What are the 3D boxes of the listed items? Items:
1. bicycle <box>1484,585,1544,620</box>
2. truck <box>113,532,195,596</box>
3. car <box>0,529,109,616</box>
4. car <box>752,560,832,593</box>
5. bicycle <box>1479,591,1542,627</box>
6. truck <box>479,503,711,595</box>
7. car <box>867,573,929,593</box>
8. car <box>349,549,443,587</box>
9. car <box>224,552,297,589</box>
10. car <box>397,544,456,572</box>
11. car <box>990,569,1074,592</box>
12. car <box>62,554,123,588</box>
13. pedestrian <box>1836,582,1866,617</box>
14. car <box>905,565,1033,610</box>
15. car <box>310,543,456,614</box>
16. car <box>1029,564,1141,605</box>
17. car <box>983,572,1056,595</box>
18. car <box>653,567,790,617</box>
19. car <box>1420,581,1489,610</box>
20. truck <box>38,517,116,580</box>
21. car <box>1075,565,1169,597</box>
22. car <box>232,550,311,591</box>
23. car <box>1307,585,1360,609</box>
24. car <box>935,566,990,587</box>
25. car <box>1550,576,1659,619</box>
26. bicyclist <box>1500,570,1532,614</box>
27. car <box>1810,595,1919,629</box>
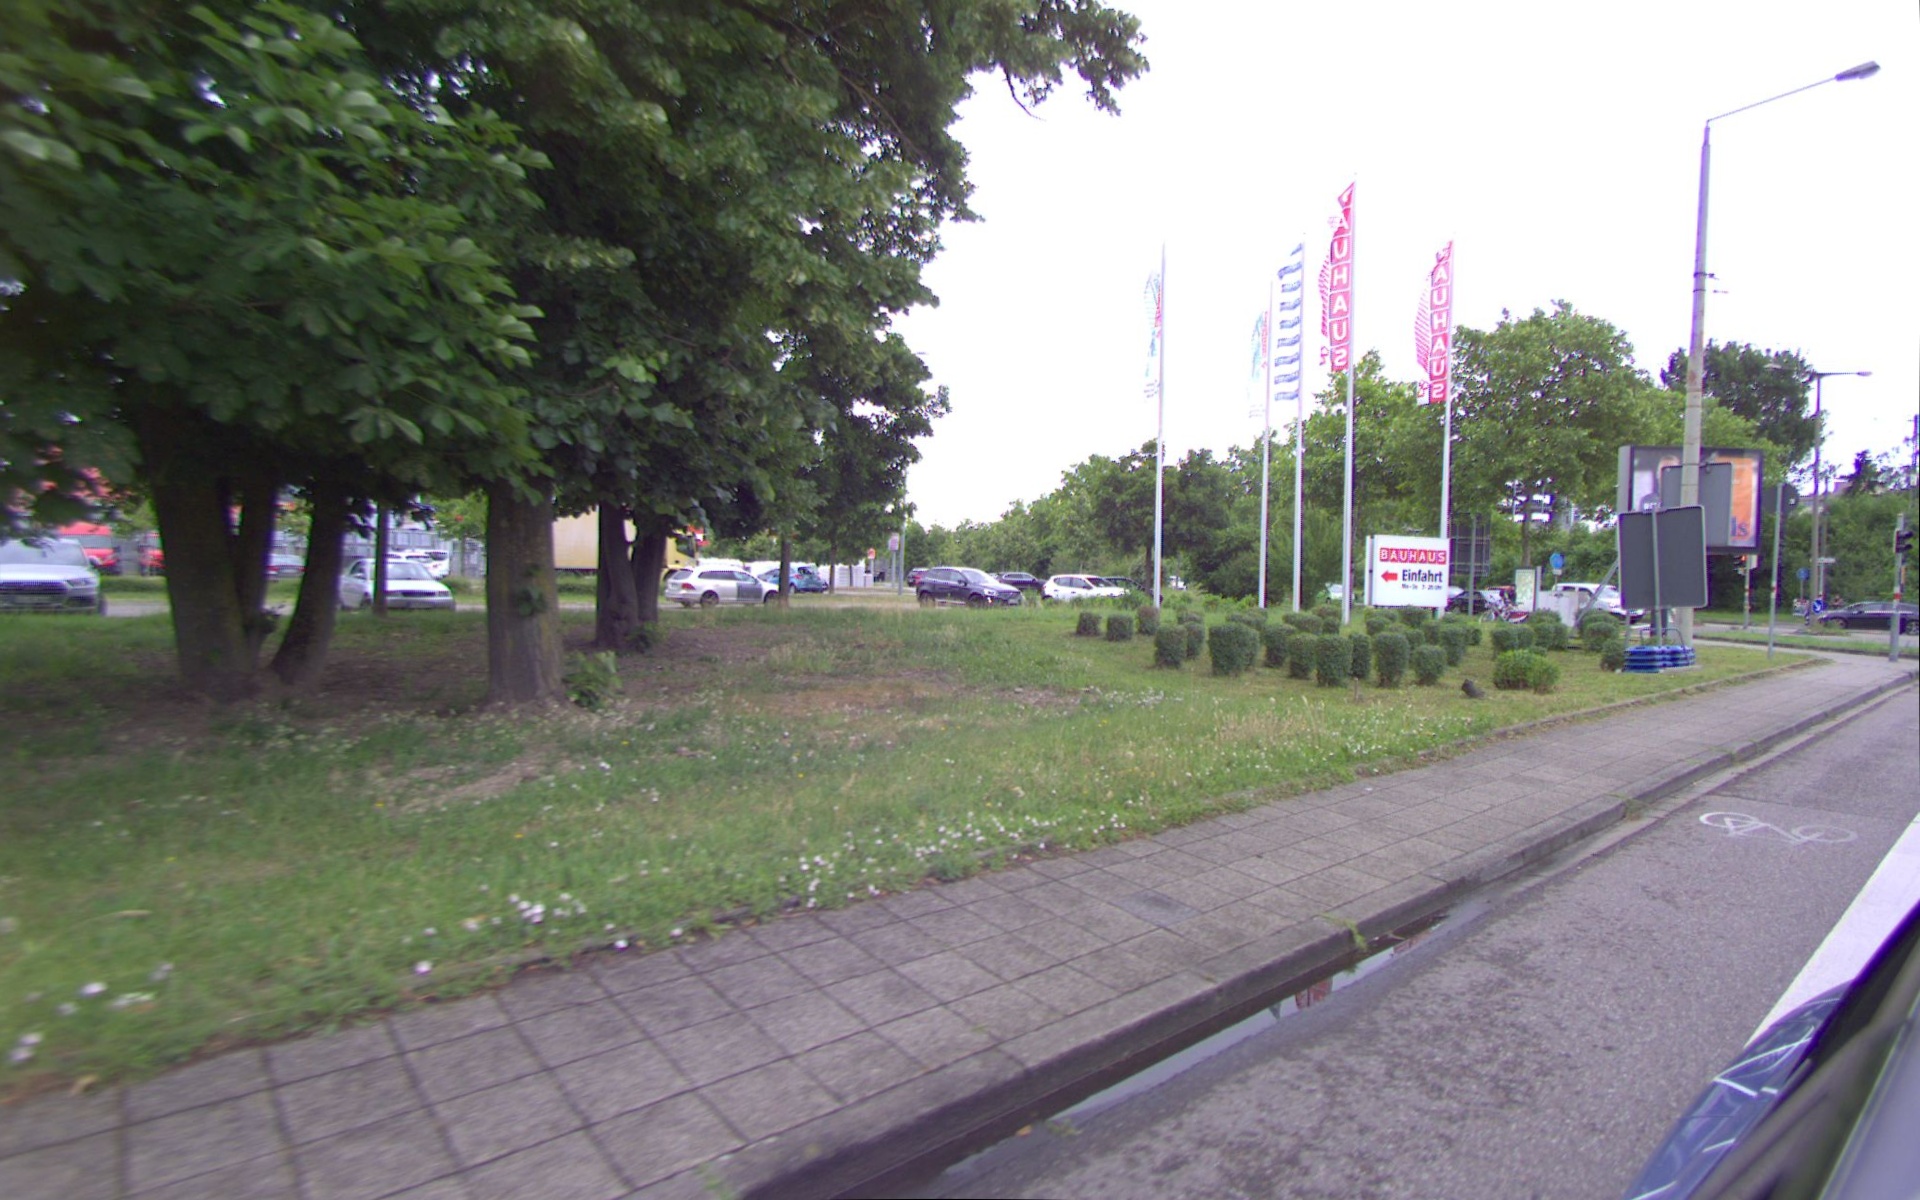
[{"bbox_3d":[19.921,0.082,36.407,0.570,1.163,1.898,1,2,-24],"label":"bicycle"},{"bbox_3d":[-38.479,-1.762,48.212,2.443,2.850,7.869,0,2,-43],"label":"truck"},{"bbox_3d":[-17.890,-0.498,19.501,2.133,1.516,4.681,0,1,-42],"label":"car"},{"bbox_3d":[-8.540,-1.198,51.261,1.952,1.525,4.564,0,2,-39],"label":"car"},{"bbox_3d":[18.786,0.297,34.539,1.779,1.131,0.487,2,1,12],"label":"bicycle"},{"bbox_3d":[-15.653,-2.067,44.040,9.090,3.609,2.944,-1,0,-42],"label":"truck"},{"bbox_3d":[-5.922,-1.619,96.026,5.678,1.697,2.133,3,2,30],"label":"car"},{"bbox_3d":[-27.273,-1.556,48.919,4.535,1.697,2.130,3,2,33],"label":"car"},{"bbox_3d":[-34.106,-1.453,49.277,4.556,1.697,2.121,3,3,45],"label":"car"},{"bbox_3d":[-34.683,-2.708,65.699,4.556,1.697,2.121,3,3,45],"label":"car"},{"bbox_3d":[5.162,-1.396,72.818,5.607,1.458,2.160,1,2,-10],"label":"car"},{"bbox_3d":[-47.243,-1.573,55.085,4.556,1.697,2.121,3,3,45],"label":"car"},{"bbox_3d":[43.334,-0.033,49.227,0.732,1.660,0.776,1,1,10],"label":"pedestrian"},{"bbox_3d":[0.261,-0.448,36.406,1.900,1.516,4.600,0,1,-45],"label":"car"},{"bbox_3d":[-13.610,-0.478,23.740,1.900,1.516,4.445,0,1,-45],"label":"car"},{"bbox_3d":[4.919,-0.607,40.244,1.900,1.516,4.224,0,1,-44],"label":"car"},{"bbox_3d":[4.901,-1.351,83.268,5.607,1.697,2.160,1,2,-10],"label":"car"},{"bbox_3d":[-8.587,-0.295,36.655,4.425,1.691,1.998,-1,1,-40],"label":"car"},{"bbox_3d":[28.982,-0.294,59.442,1.662,1.500,4.072,1,2,-6],"label":"car"},{"bbox_3d":[-41.073,-2.381,46.984,2.443,2.667,7.869,0,2,-43],"label":"truck"},{"bbox_3d":[7.728,-0.892,48.513,4.150,1.516,1.828,0,0,-5],"label":"car"},{"bbox_3d":[-31.109,-1.346,45.695,4.556,1.697,2.121,3,3,45],"label":"car"},{"bbox_3d":[24.704,-0.234,67.022,1.749,1.552,4.004,0,1,-5],"label":"car"},{"bbox_3d":[0.237,-2.436,104.388,5.616,1.917,2.156,2,2,-1],"label":"car"},{"bbox_3d":[30.093,-0.148,47.454,1.842,1.851,4.429,0,2,-8],"label":"car"},{"bbox_3d":[19.958,-0.300,36.307,0.570,1.538,0.761,1,1,-24],"label":"bicyclist"},{"bbox_3d":[41.162,0.506,45.598,3.947,1.442,1.827,1,0,18],"label":"car"}]
